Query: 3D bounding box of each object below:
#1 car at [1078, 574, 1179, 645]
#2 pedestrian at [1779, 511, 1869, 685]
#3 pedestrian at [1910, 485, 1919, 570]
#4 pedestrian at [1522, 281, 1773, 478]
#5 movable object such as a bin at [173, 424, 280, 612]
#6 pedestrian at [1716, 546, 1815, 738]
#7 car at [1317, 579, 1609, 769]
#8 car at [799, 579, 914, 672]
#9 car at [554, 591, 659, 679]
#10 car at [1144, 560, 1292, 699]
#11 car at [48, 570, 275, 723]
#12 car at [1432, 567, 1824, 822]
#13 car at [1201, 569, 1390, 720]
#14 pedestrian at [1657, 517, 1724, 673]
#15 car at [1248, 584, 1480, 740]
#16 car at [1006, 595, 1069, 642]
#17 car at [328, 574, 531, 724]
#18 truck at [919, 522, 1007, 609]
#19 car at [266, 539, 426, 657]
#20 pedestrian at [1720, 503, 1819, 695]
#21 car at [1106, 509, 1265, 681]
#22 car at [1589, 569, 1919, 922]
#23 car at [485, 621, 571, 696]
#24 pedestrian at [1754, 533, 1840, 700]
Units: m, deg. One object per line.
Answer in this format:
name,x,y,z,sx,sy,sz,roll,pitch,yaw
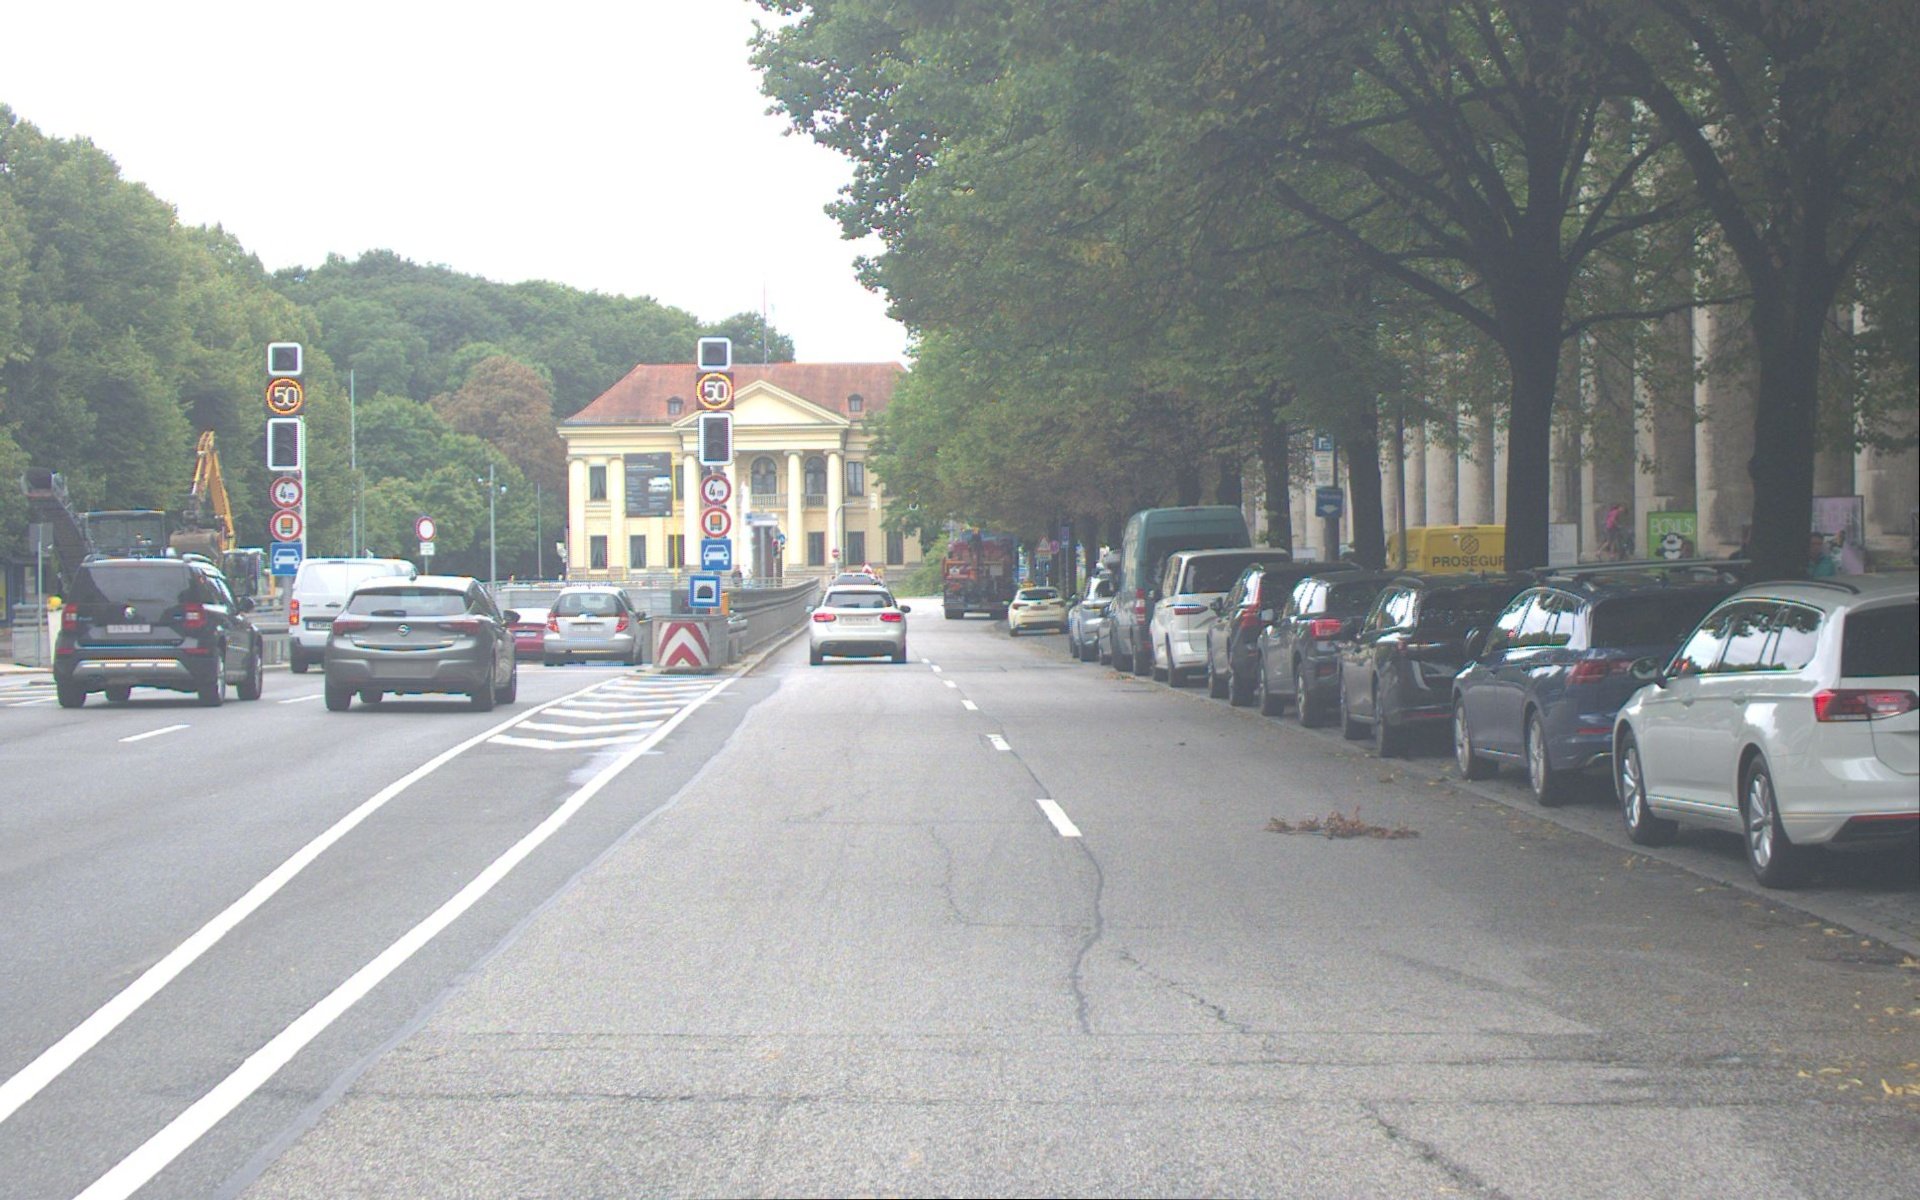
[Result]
car,3.275,0.172,67.482,1.724,1.319,4.028,-1,0,-1
pedestrian,9.626,-0.026,38.316,0.779,1.904,0.771,1,0,-1
pedestrian,15.851,-1.173,55.953,0.566,1.369,0.646,1,0,-1
pedestrian,7.843,-2.481,39.582,1.993,2.007,4.000,1,0,-1
movable object such as a bin,-25.971,-2.859,121.917,2.699,6.488,5.176,1,0,-1
pedestrian,8.107,0.412,34.624,0.779,1.904,0.771,1,0,-1
car,4.211,0.569,29.479,1.724,1.459,4.776,-1,0,-1
car,-1.955,0.451,63.883,1.779,1.639,4.001,1,0,-6
car,-6.959,0.658,67.964,1.779,1.648,4.000,1,0,-2
car,3.617,0.390,48.813,1.724,1.861,4.028,-1,0,-1
car,-9.046,0.494,39.246,1.722,1.631,4.205,-1,0,-2
car,4.460,0.573,23.611,1.724,1.544,4.585,-1,0,-1
car,3.923,0.484,40.882,1.724,1.659,4.590,-1,0,-1
pedestrian,8.994,-0.064,42.350,0.642,1.904,0.682,1,0,-1
car,4.065,0.590,35.165,1.822,1.459,4.028,-1,0,-1
car,2.280,0.528,102.452,1.724,1.319,4.028,-1,0,-1
car,-5.803,0.496,37.981,1.710,1.547,4.000,1,0,-2
truck,0.070,-1.391,139.735,3.325,3.355,8.663,1,0,-1
car,-10.128,-0.037,56.991,1.898,1.841,4.956,-1,0,-2
pedestrian,8.124,-0.015,34.531,0.779,1.904,0.771,1,0,-1
car,3.596,-0.091,55.598,1.993,2.634,4.878,1,0,-3
car,4.611,0.623,17.616,1.827,1.544,4.752,-1,0,-1
car,-10.528,1.405,83.942,1.660,1.722,3.443,-1,0,-1
pedestrian,9.639,0.185,39.613,0.779,1.904,0.771,1,0,-1
